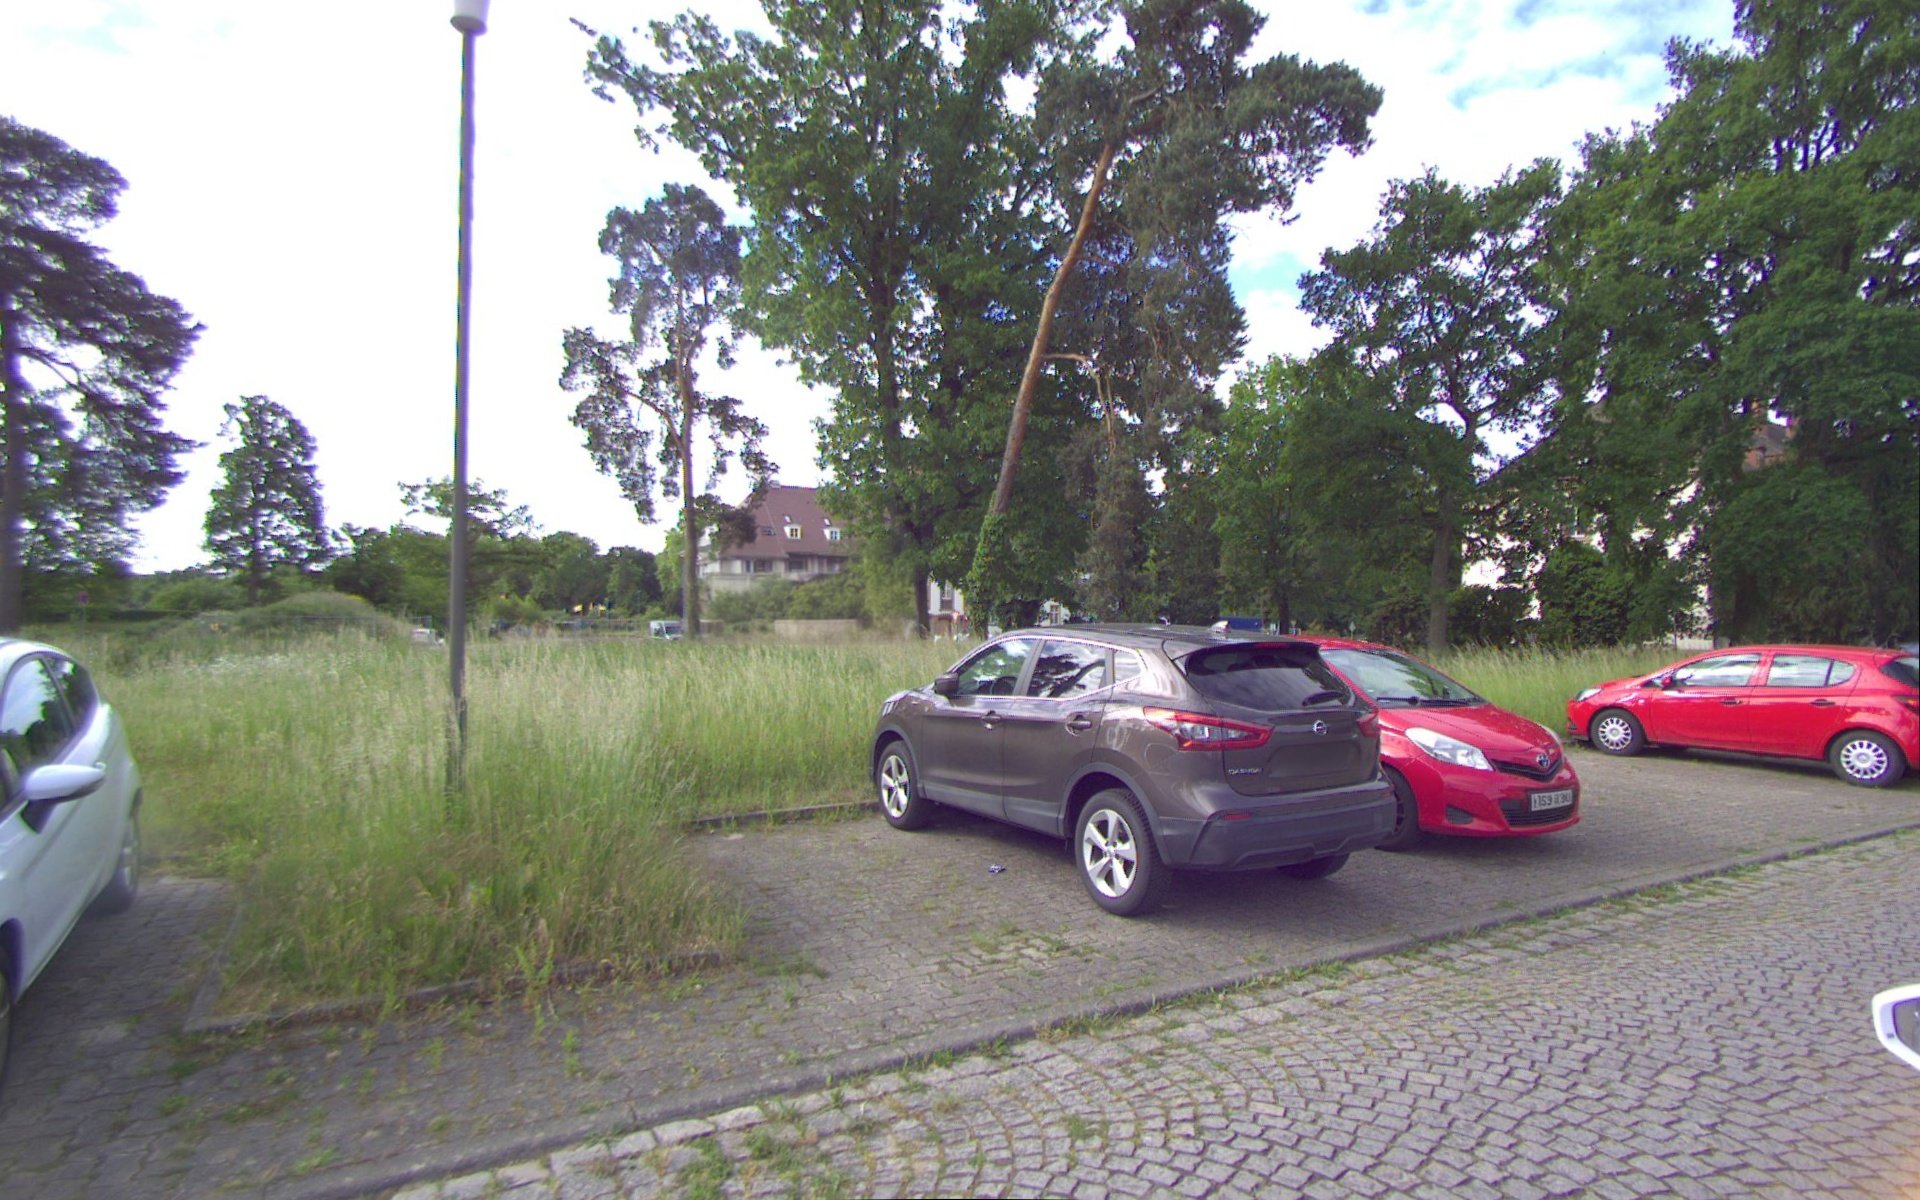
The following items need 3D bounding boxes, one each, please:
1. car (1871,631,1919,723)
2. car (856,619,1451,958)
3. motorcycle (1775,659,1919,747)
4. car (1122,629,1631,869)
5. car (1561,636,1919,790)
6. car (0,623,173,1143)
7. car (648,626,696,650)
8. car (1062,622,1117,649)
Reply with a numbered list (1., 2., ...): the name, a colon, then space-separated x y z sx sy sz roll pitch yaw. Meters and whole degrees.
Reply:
1. car: 18.568 1.381 17.234 1.767 1.625 4.051 1 -1 -31
2. car: 0.991 0.947 7.046 1.932 1.596 4.048 1 -1 -30
3. motorcycle: 13.485 1.499 14.815 0.638 1.174 2.218 1 -1 -26
4. car: 3.267 1.028 8.618 1.740 1.506 3.799 1 -1 -29
5. car: 9.748 1.228 12.262 1.766 1.509 3.798 1 -1 -30
6. car: -4.263 0.859 3.682 1.707 1.513 3.774 1 -1 -31
7. car: -27.161 3.535 94.676 2.350 2.143 5.762 4 -3 -38
8. car: 11.117 3.070 86.026 4.295 2.122 2.052 3 -4 -30
